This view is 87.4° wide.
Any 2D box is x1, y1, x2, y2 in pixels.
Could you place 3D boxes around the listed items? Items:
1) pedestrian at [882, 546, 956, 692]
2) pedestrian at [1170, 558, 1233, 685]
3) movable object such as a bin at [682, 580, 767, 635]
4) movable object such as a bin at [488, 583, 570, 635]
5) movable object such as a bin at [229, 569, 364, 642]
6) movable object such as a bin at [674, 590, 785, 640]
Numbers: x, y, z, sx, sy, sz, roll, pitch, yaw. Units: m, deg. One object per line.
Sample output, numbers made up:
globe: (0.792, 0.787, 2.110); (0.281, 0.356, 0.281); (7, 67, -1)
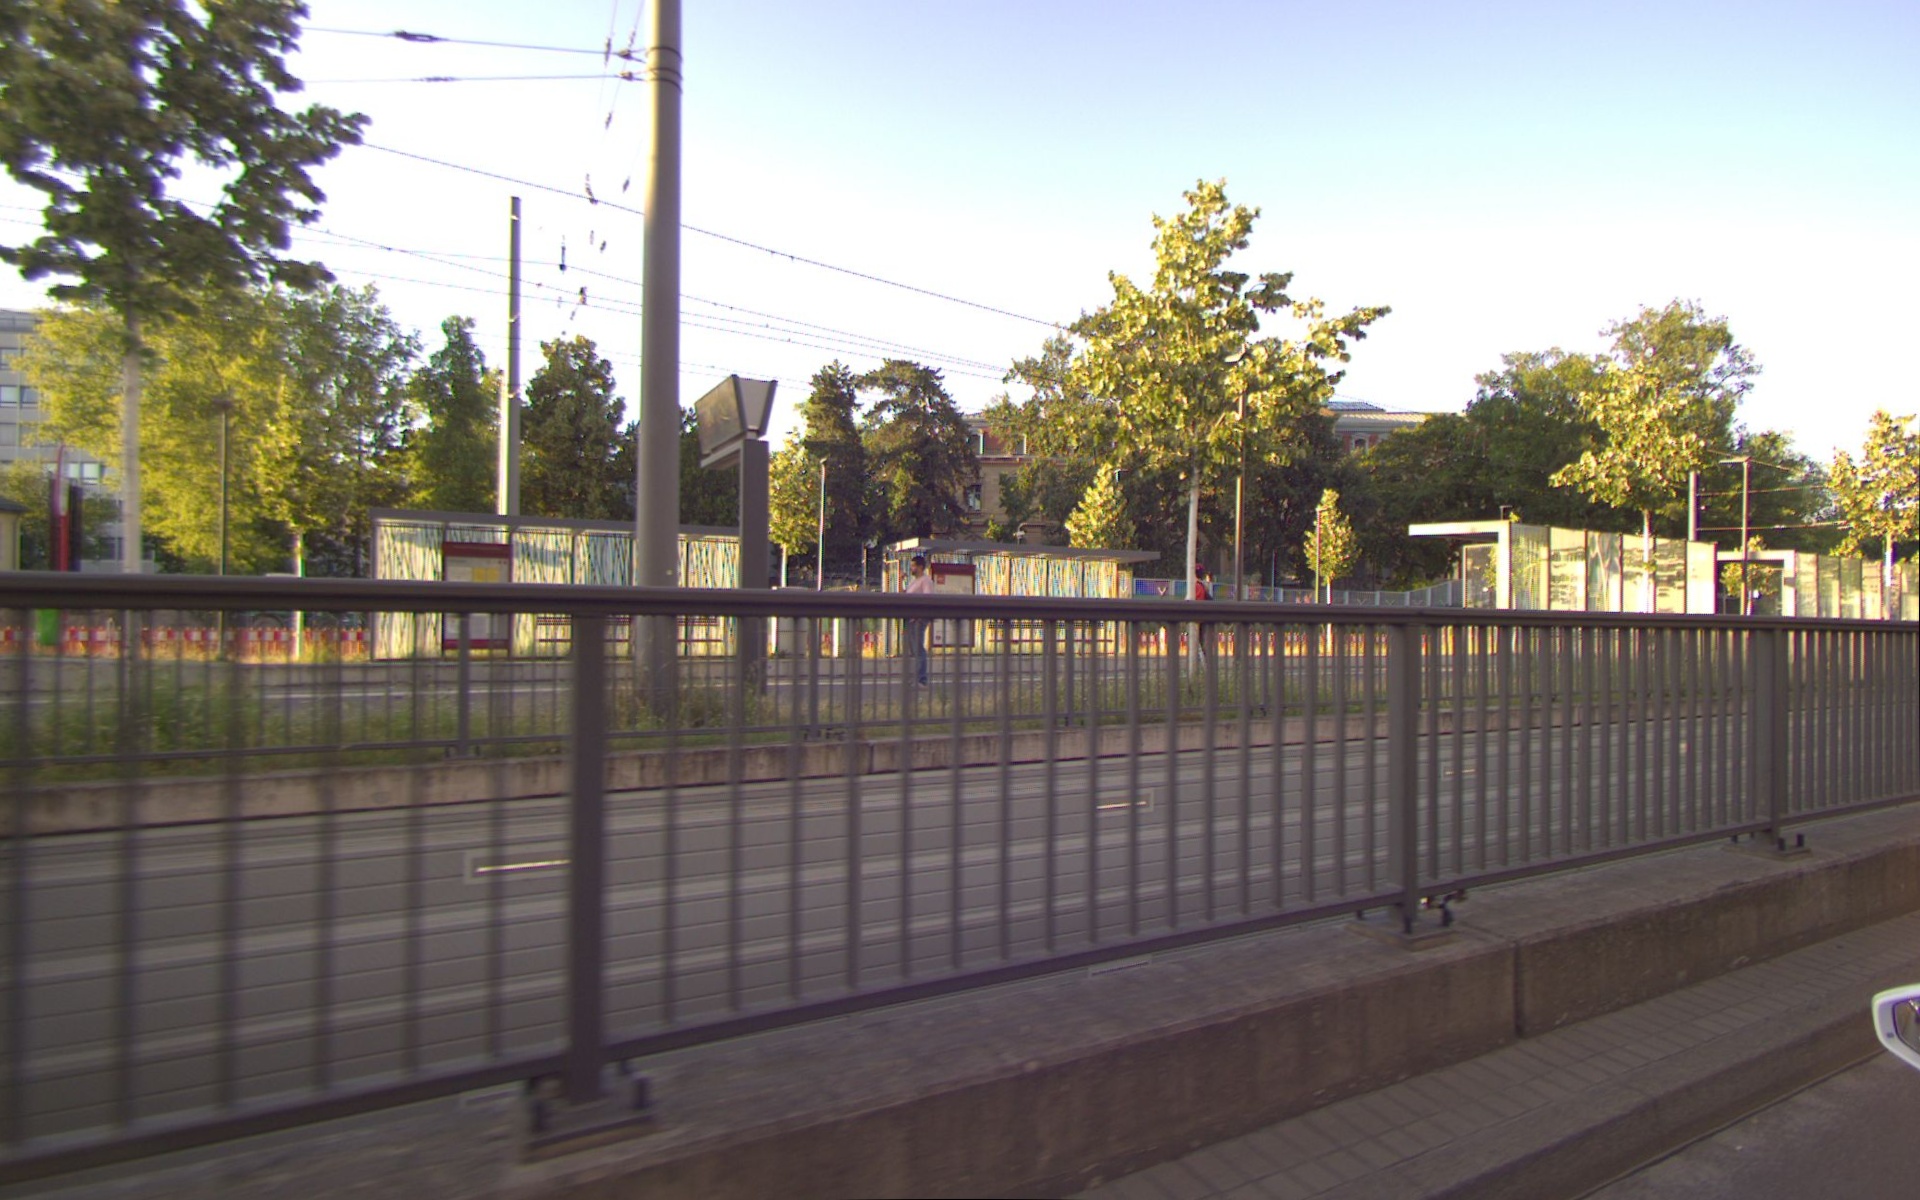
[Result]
pedestrian: (-0.524, 0.234, 12.709); (0.630, 1.768, 0.719); (0, 0, -37)
pedestrian: (3.442, 0.305, 14.323); (0.631, 1.752, 0.628); (1, -1, -42)
movable object such as a bin: (-12.370, 0.410, 52.796); (3.949, 2.742, 1.986); (1, -1, -28)
movable object such as a bin: (-23.726, 0.525, 55.288); (3.949, 2.742, 1.986); (1, -1, -28)
movable object such as a bin: (-26.079, 0.242, 39.633); (3.935, 2.742, 1.993); (1, -1, -17)
movable object such as a bin: (-11.109, 0.758, 48.545); (4.876, 2.276, 1.986); (2, -1, -28)
